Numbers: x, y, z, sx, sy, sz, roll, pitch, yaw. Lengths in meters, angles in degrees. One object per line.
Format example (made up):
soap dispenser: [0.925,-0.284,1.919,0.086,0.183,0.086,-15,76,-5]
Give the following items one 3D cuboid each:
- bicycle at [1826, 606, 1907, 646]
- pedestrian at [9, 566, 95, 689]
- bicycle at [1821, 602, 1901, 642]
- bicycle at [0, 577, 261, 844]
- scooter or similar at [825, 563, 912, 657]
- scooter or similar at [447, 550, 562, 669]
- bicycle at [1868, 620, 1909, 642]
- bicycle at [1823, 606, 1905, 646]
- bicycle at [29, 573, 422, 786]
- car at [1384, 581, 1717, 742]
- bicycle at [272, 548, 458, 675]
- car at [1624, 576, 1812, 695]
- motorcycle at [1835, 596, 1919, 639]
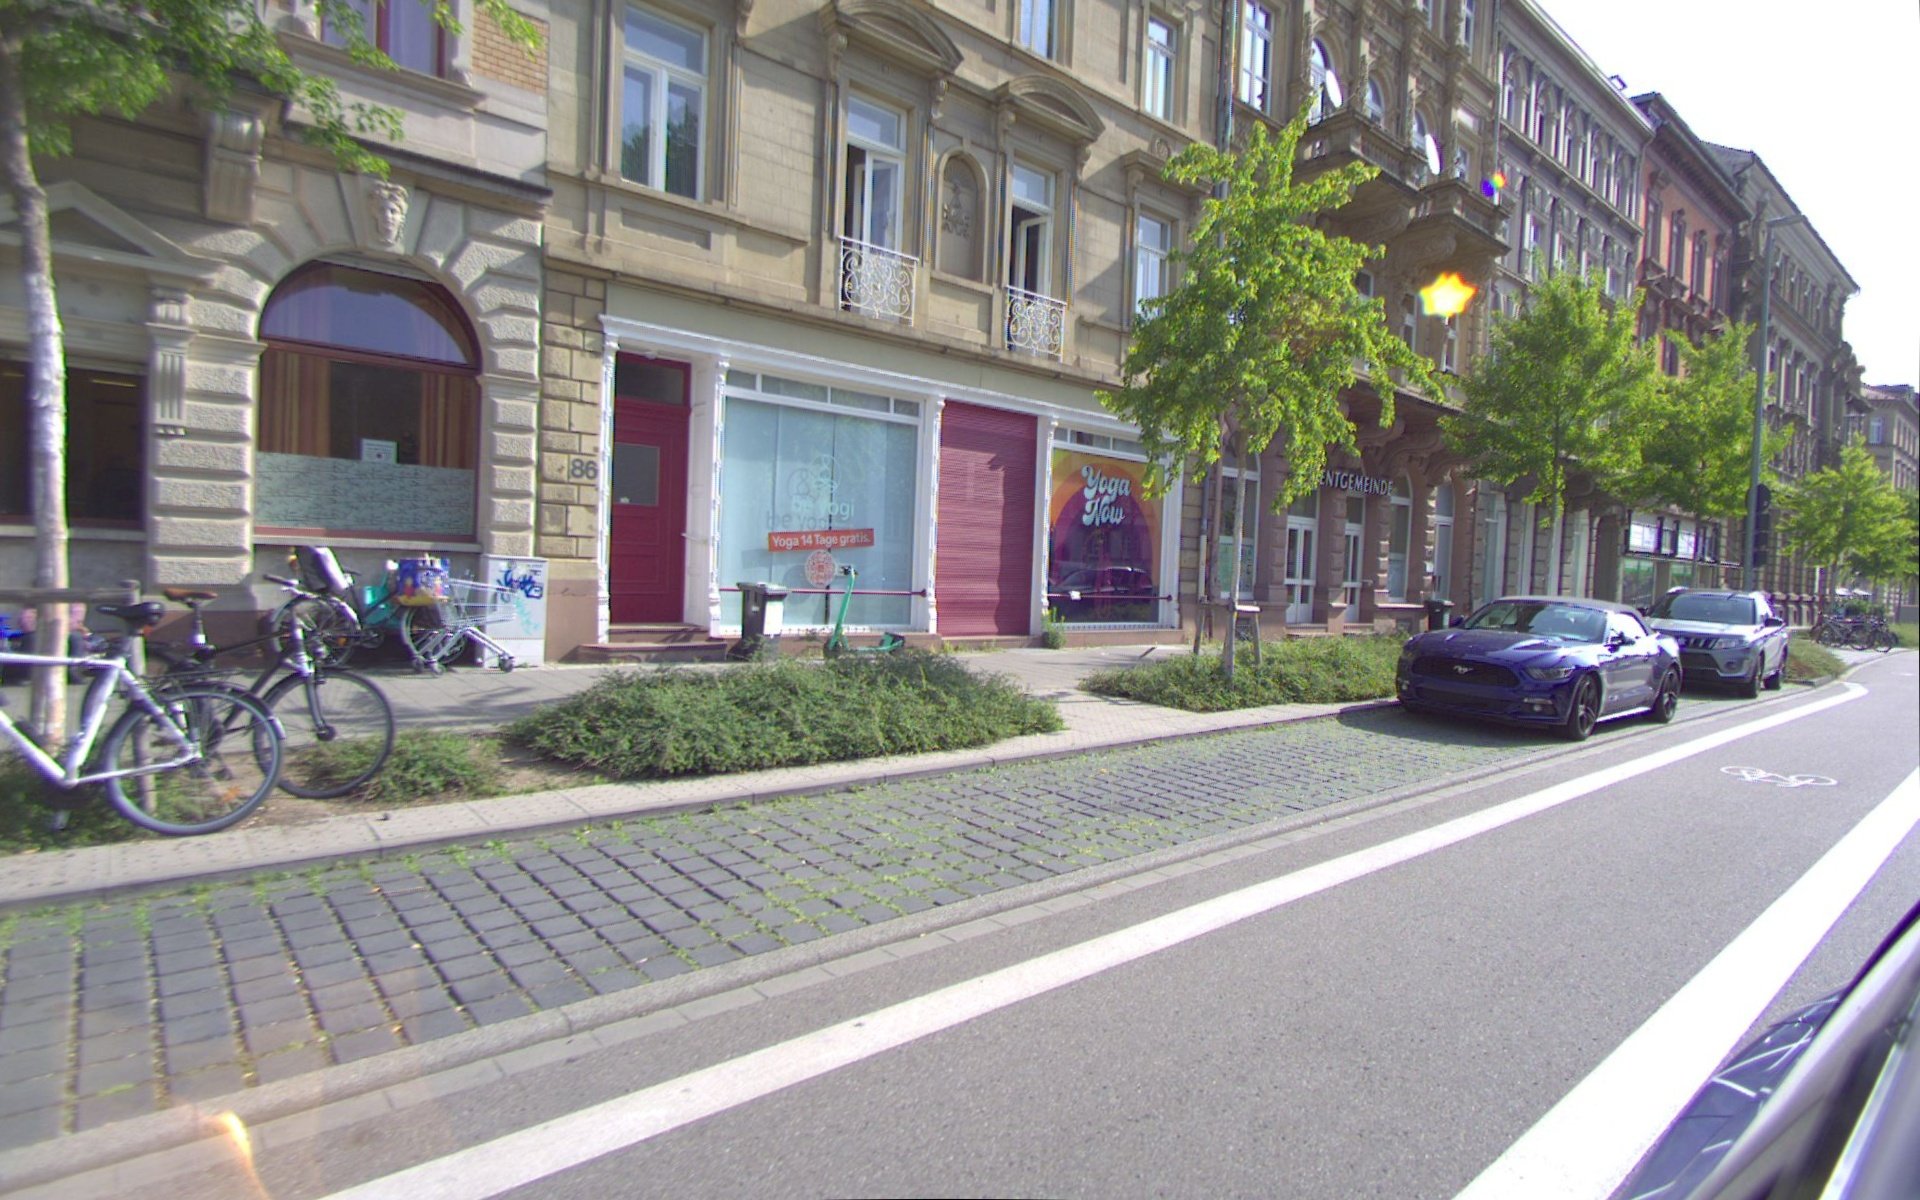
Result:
bicycle: [28.045,0.778,31.337,0.366,1.066,1.788,1,4,-41]
pedestrian: [-6.973,0.197,7.771,0.570,0.865,0.450,7,4,44]
bicycle: [28.827,0.677,32.401,1.808,1.109,0.661,6,4,45]
bicycle: [-4.177,0.459,4.425,1.794,1.107,0.493,0,2,-41]
scooter or similar: [-1.152,0.118,12.810,1.068,1.148,0.290,1,2,-35]
scooter or similar: [-4.612,0.077,10.260,0.915,1.139,0.608,0,2,-41]
bicycle: [31.267,1.040,34.087,0.354,0.617,0.961,1,4,-39]
bicycle: [27.750,0.780,31.083,0.366,1.066,1.788,1,4,-41]
bicycle: [-3.999,0.415,5.570,1.843,1.095,0.455,1,3,2]
car: [6.892,0.576,11.601,4.630,1.413,1.741,1,4,-40]
bicycle: [-5.541,0.085,9.483,0.450,1.097,1.427,3,2,40]
car: [12.473,0.500,16.544,4.178,1.607,1.772,0,4,-44]
motorcycle: [31.822,0.598,35.130,2.012,1.302,0.702,4,2,14]
